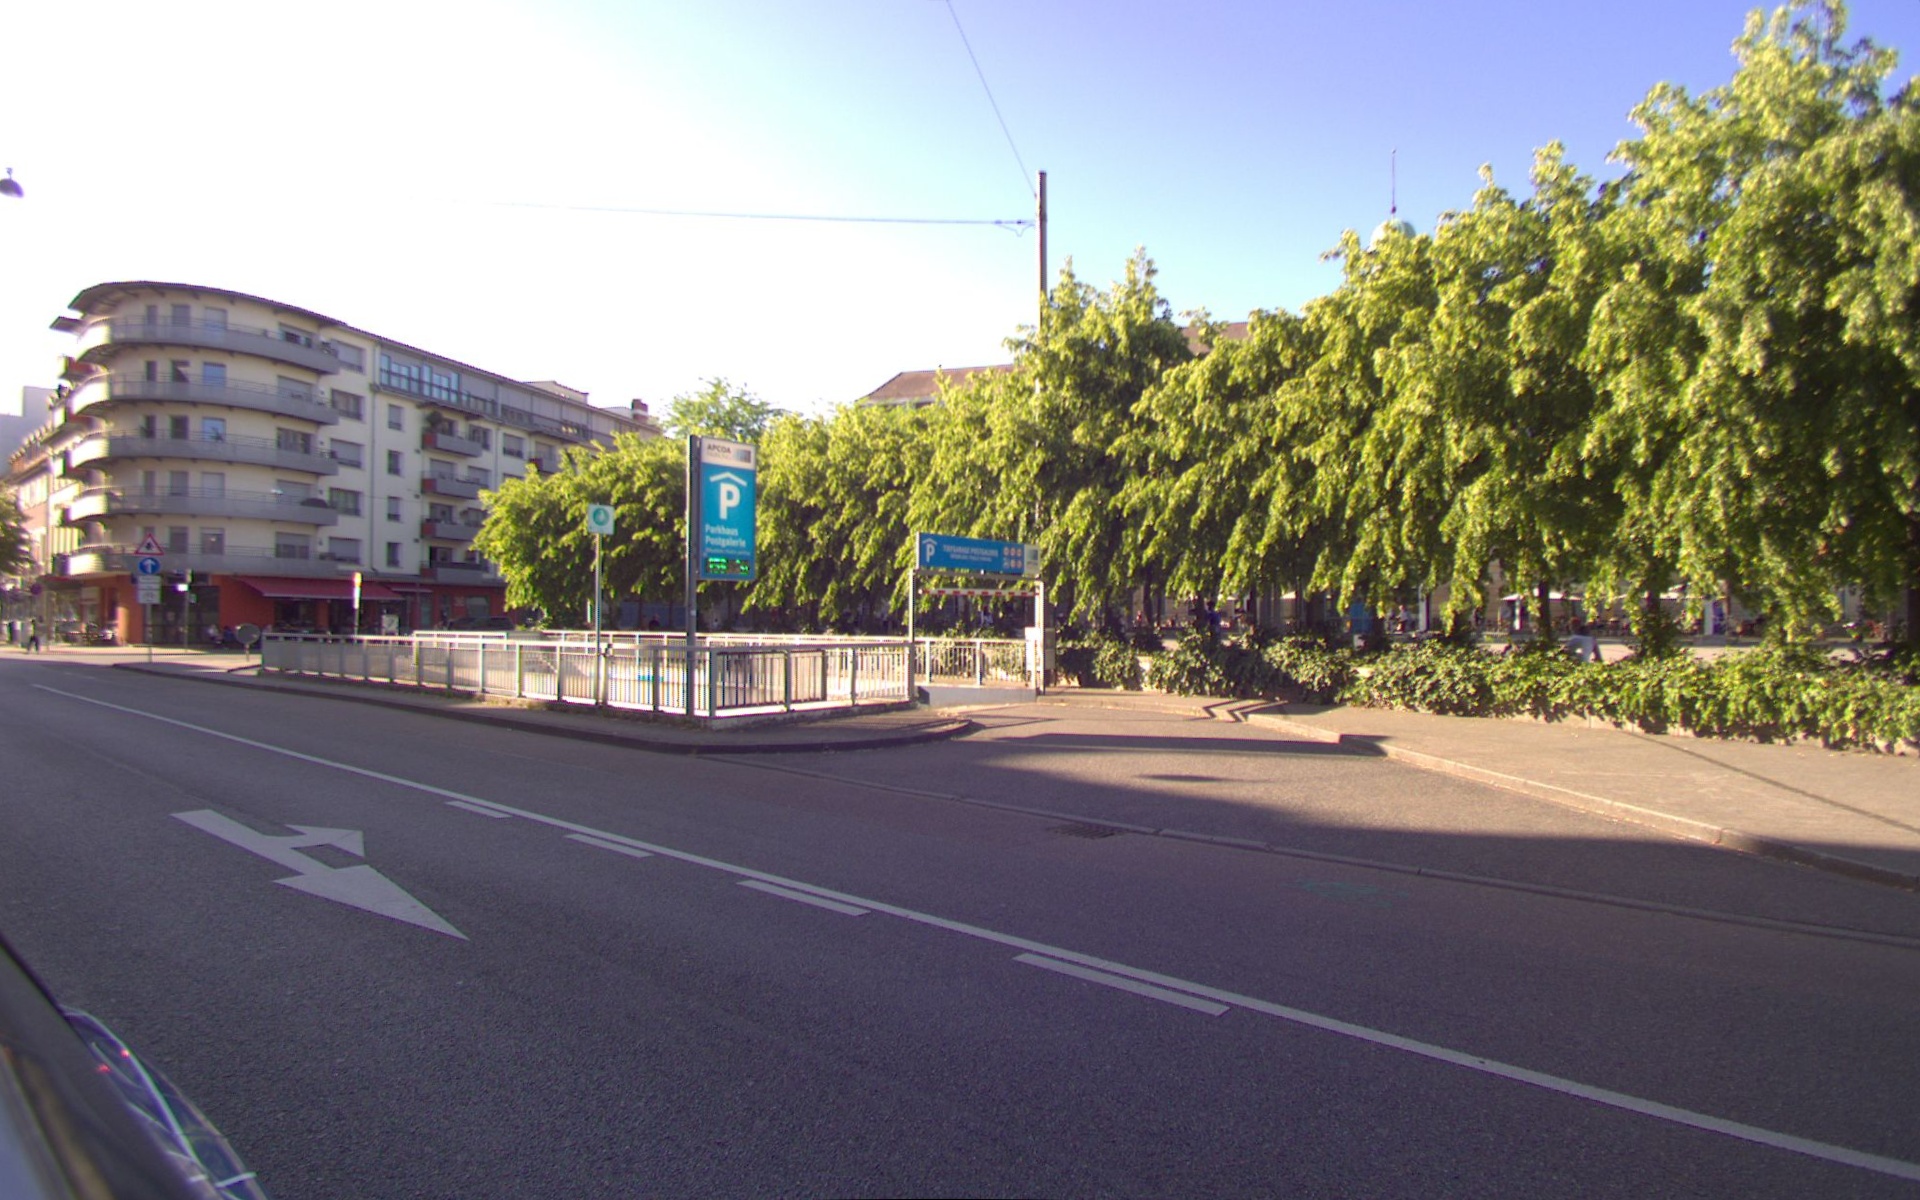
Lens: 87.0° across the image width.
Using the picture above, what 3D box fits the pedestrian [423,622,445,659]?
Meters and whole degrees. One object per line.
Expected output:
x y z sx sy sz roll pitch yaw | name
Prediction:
-24.848 1.909 47.775 0.697 1.719 0.667 -1 -1 33 | pedestrian

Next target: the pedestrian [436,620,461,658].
-24.500 1.857 48.459 0.753 1.819 0.748 -1 -1 25 | pedestrian

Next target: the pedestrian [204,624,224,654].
-37.731 1.972 51.201 0.780 1.472 0.583 0 -1 -40 | pedestrian

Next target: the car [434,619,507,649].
-30.518 2.113 63.203 1.983 1.763 3.977 -1 -1 17 | car

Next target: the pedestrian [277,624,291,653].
-35.308 2.005 52.891 0.573 1.501 0.794 0 -1 -36 | pedestrian

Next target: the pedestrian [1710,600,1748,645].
30.130 0.885 39.661 0.889 1.771 0.735 -1 -1 10 | pedestrian

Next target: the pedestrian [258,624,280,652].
-36.728 2.010 53.771 0.782 1.473 0.582 0 -1 3 | pedestrian

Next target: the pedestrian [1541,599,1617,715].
9.775 0.878 15.977 0.885 1.771 0.738 0 -1 -39 | pedestrian

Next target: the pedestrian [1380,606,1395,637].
27.032 1.370 63.972 0.751 1.948 0.938 -1 -1 20 | pedestrian

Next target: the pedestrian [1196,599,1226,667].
6.302 0.818 25.438 0.672 1.683 0.843 -1 -1 13 | pedestrian

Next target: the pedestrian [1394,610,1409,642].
27.760 1.625 63.608 0.751 1.948 0.938 -1 -1 20 | pedestrian

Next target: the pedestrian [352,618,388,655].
-32.580 1.993 55.878 1.251 2.029 1.226 -1 -1 19 | pedestrian

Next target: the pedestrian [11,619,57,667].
-40.322 1.864 44.075 1.004 2.029 1.203 -1 0 -13 | pedestrian

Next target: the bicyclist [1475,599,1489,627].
27.337 0.677 52.997 0.670 1.439 0.692 -1 -1 28 | bicyclist

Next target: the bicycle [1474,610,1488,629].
27.295 1.033 52.976 0.587 0.961 1.887 -1 -2 29 | bicycle
